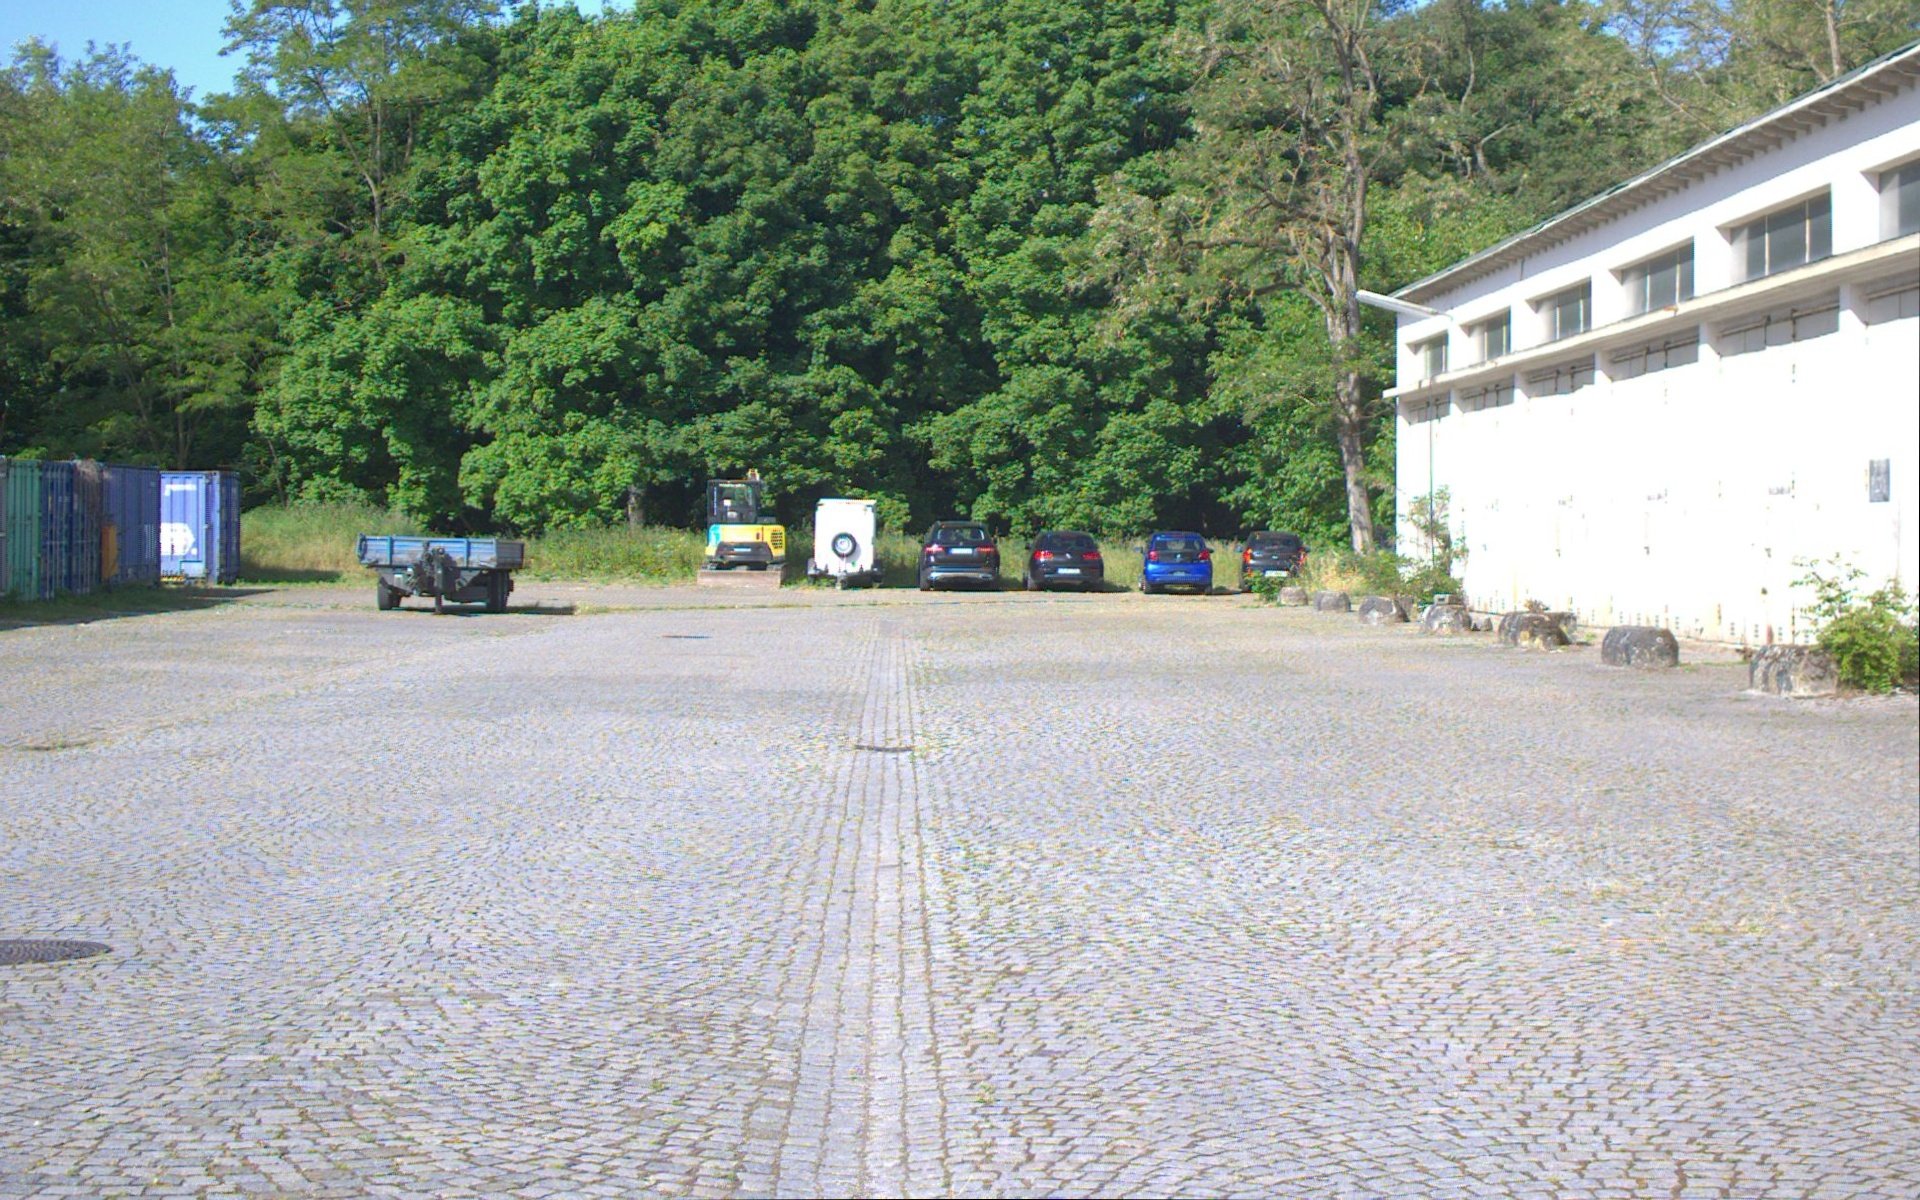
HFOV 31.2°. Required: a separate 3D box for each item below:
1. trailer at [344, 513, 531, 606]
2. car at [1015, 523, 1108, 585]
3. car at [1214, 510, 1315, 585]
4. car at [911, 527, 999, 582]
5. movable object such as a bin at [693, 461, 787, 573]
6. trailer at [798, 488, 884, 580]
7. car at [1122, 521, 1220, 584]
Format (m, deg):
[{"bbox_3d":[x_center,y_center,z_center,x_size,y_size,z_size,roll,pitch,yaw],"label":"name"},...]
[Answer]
[{"bbox_3d":[-9.616,-0.776,63.733,2.791,1.640,5.621,0,1,-2],"label":"trailer"},{"bbox_3d":[2.385,-1.111,81.576,1.993,1.419,4.000,0,1,-1],"label":"car"},{"bbox_3d":[7.315,-1.283,82.868,1.993,1.766,4.000,0,1,-1],"label":"car"},{"bbox_3d":[-0.136,-1.085,81.172,1.993,1.254,4.000,0,1,-1],"label":"car"},{"bbox_3d":[-5.308,-2.000,83.082,2.231,2.648,4.001,0,1,-3],"label":"movable object such as a bin"},{"bbox_3d":[-2.830,-1.592,82.363,1.993,2.155,4.432,0,1,-2],"label":"trailer"},{"bbox_3d":[4.977,-1.143,81.597,1.993,1.461,4.000,0,1,-1],"label":"car"}]
